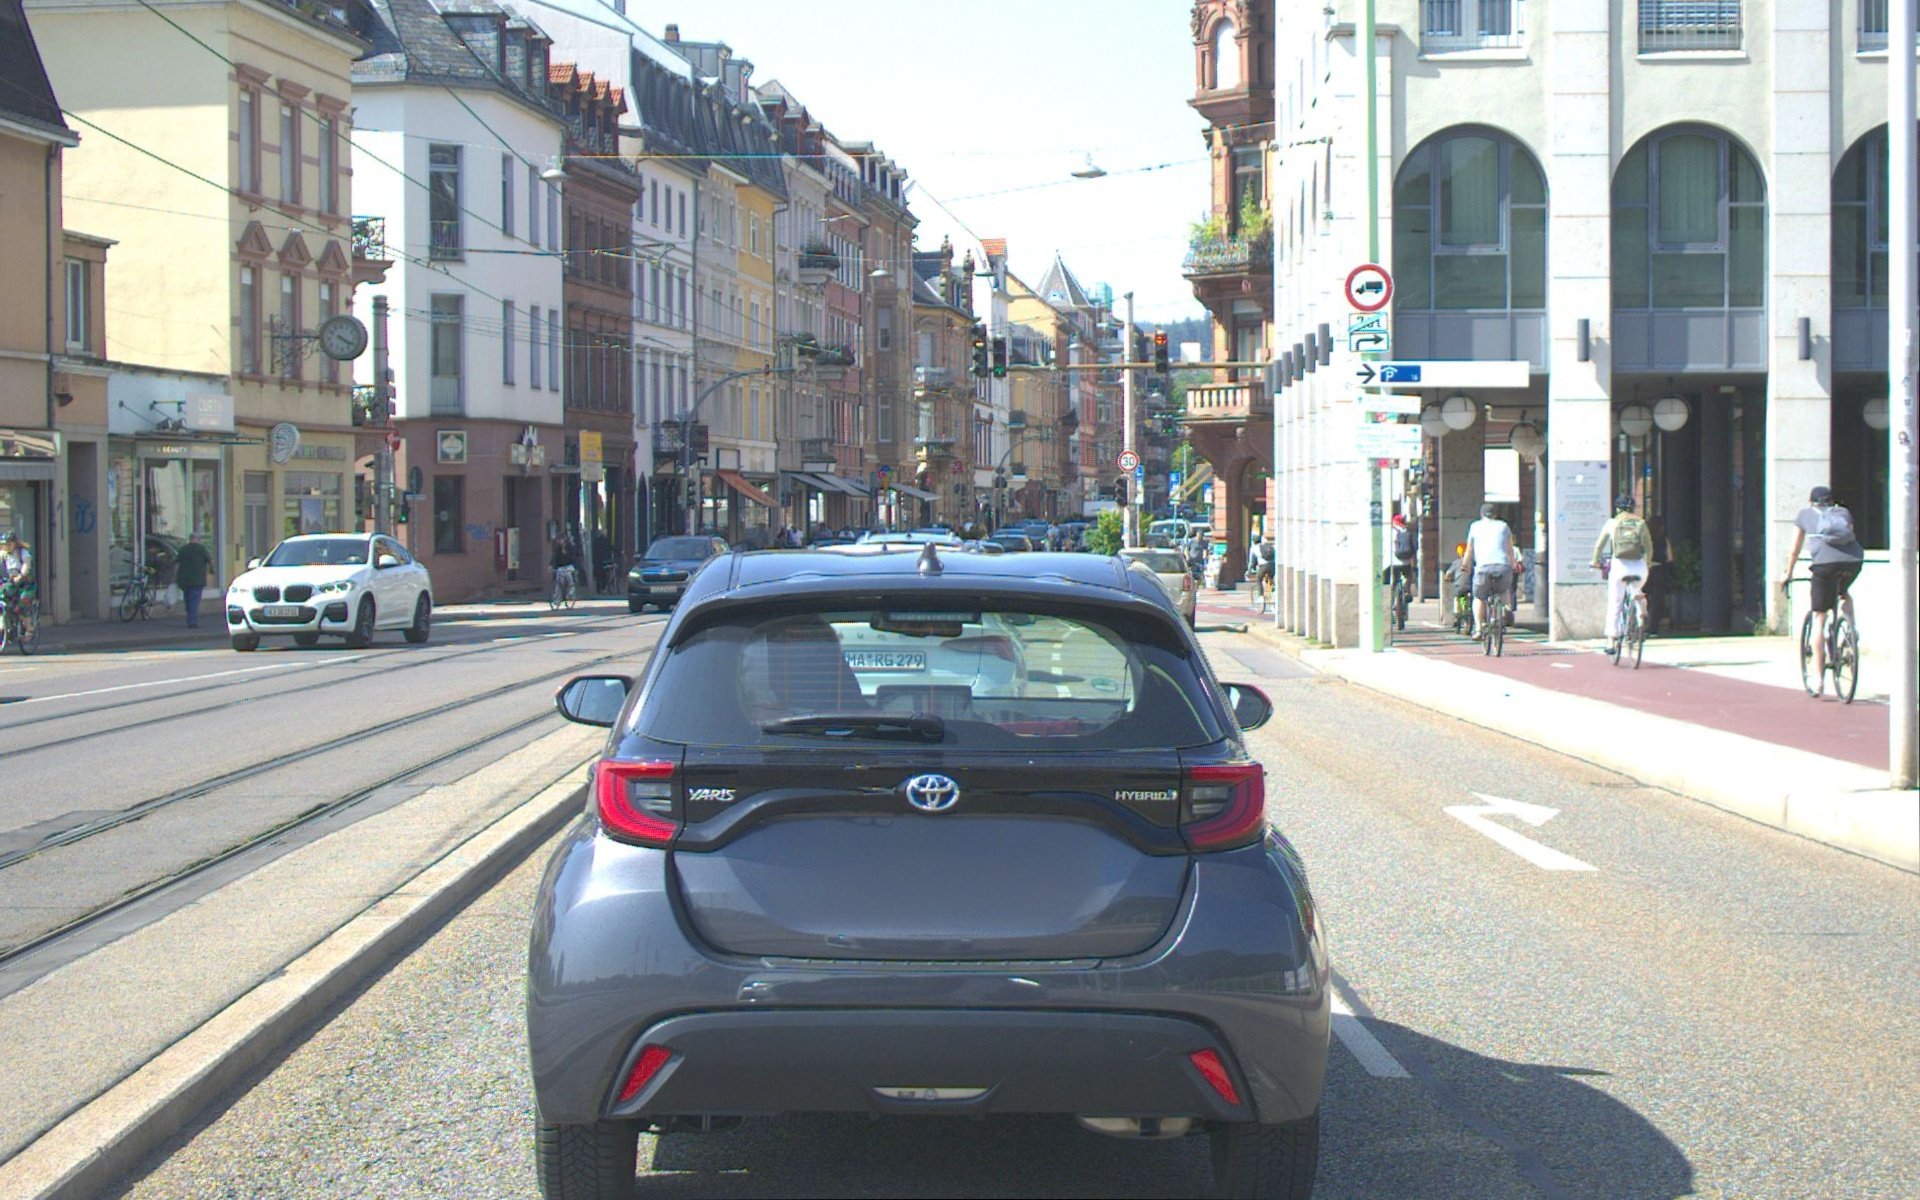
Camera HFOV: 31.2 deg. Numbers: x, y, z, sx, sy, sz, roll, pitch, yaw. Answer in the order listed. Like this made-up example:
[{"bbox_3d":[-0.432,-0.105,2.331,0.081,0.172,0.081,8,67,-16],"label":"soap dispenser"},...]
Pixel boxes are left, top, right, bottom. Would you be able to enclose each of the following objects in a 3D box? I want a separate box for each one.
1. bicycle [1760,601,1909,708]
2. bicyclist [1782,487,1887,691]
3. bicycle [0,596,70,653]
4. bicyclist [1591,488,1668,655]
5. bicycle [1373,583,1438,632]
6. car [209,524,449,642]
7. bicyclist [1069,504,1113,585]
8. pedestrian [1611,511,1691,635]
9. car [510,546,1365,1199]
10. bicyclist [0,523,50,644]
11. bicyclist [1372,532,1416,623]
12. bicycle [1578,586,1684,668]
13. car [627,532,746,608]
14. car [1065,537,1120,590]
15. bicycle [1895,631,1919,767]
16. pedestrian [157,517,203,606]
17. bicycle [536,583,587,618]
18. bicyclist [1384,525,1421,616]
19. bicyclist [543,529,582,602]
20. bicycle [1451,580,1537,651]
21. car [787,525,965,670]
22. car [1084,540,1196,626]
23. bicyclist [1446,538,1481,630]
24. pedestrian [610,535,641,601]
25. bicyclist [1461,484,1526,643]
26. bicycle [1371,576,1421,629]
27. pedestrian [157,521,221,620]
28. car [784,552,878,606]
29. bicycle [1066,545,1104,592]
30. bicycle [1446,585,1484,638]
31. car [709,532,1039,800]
[{"bbox_3d":[6.821,0.414,26.883,0.593,0.763,1.831,-1,1,-3],"label":"bicycle"},{"bbox_3d":[6.816,-0.090,26.808,0.586,1.553,0.702,-1,1,-3],"label":"bicyclist"},{"bbox_3d":[-13.082,0.331,47.755,0.620,0.713,2.044,2,2,9],"label":"bicycle"},{"bbox_3d":[6.718,-0.290,34.515,0.586,1.645,0.702,-1,1,-3],"label":"bicyclist"},{"bbox_3d":[7.256,0.122,56.006,0.959,0.763,0.417,-1,1,22],"label":"bicycle"},{"bbox_3d":[-8.811,-0.266,48.406,1.994,1.581,4.651,0,1,7],"label":"car"},{"bbox_3d":[4.247,-1.809,111.357,1.228,2.520,1.105,4,1,4],"label":"bicyclist"},{"bbox_3d":[9.388,-0.370,46.731,0.739,1.609,1.016,4,1,-1],"label":"pedestrian"},{"bbox_3d":[-0.081,0.620,8.852,1.720,1.468,3.658,1,1,-1],"label":"car"},{"bbox_3d":[-13.068,-0.238,47.722,0.627,1.644,0.621,2,2,8],"label":"bicyclist"},{"bbox_3d":[6.675,-0.353,52.891,0.534,1.378,0.669,-2,1,-1],"label":"bicyclist"},{"bbox_3d":[6.725,0.261,34.528,0.593,0.763,1.867,-1,1,-3],"label":"bicycle"},{"bbox_3d":[-5.703,-0.644,72.101,1.794,1.540,3.920,0,1,6],"label":"car"},{"bbox_3d":[5.505,-1.502,142.116,1.994,2.006,4.000,4,1,4],"label":"car"},{"bbox_3d":[5.817,0.580,19.314,0.593,0.763,1.867,-1,1,0],"label":"bicycle"},{"bbox_3d":[-14.670,-0.729,64.673,0.649,1.596,0.566,4,3,0],"label":"pedestrian"},{"bbox_3d":[-9.074,0.011,78.419,0.620,0.713,2.044,2,2,9],"label":"bicycle"},{"bbox_3d":[7.212,-0.488,56.017,0.442,1.461,0.484,-2,1,22],"label":"bicyclist"},{"bbox_3d":[-9.057,-0.789,78.326,0.705,1.644,0.621,2,2,8],"label":"bicyclist"},{"bbox_3d":[6.196,0.172,39.968,0.593,0.763,1.867,-1,1,-3],"label":"bicycle"},{"bbox_3d":[-0.950,-0.066,39.289,1.897,1.525,4.000,1,1,-1],"label":"car"},{"bbox_3d":[3.232,-0.342,62.386,1.705,1.461,4.326,1,1,-1],"label":"car"},{"bbox_3d":[7.653,-0.243,52.241,0.422,1.378,0.443,-2,1,-1],"label":"bicyclist"},{"bbox_3d":[-8.931,-0.859,91.751,0.736,1.760,0.787,0,2,0],"label":"pedestrian"},{"bbox_3d":[6.192,-0.429,39.945,0.586,1.814,0.702,-1,1,-3],"label":"bicyclist"},{"bbox_3d":[6.692,0.031,52.837,0.514,0.763,1.661,-2,1,0],"label":"bicycle"},{"bbox_3d":[-13.336,-0.508,59.479,0.762,1.648,0.711,4,1,8],"label":"pedestrian"},{"bbox_3d":[-3.511,-0.593,94.238,1.994,1.427,3.999,1,1,6],"label":"car"},{"bbox_3d":[4.070,-1.028,111.552,1.112,1.415,3.007,4,1,3],"label":"bicycle"},{"bbox_3d":[7.664,0.169,52.191,0.416,0.763,0.962,-2,1,0],"label":"bicycle"},{"bbox_3d":[-0.542,0.348,22.072,1.897,1.525,4.000,1,1,-1],"label":"car"}]
